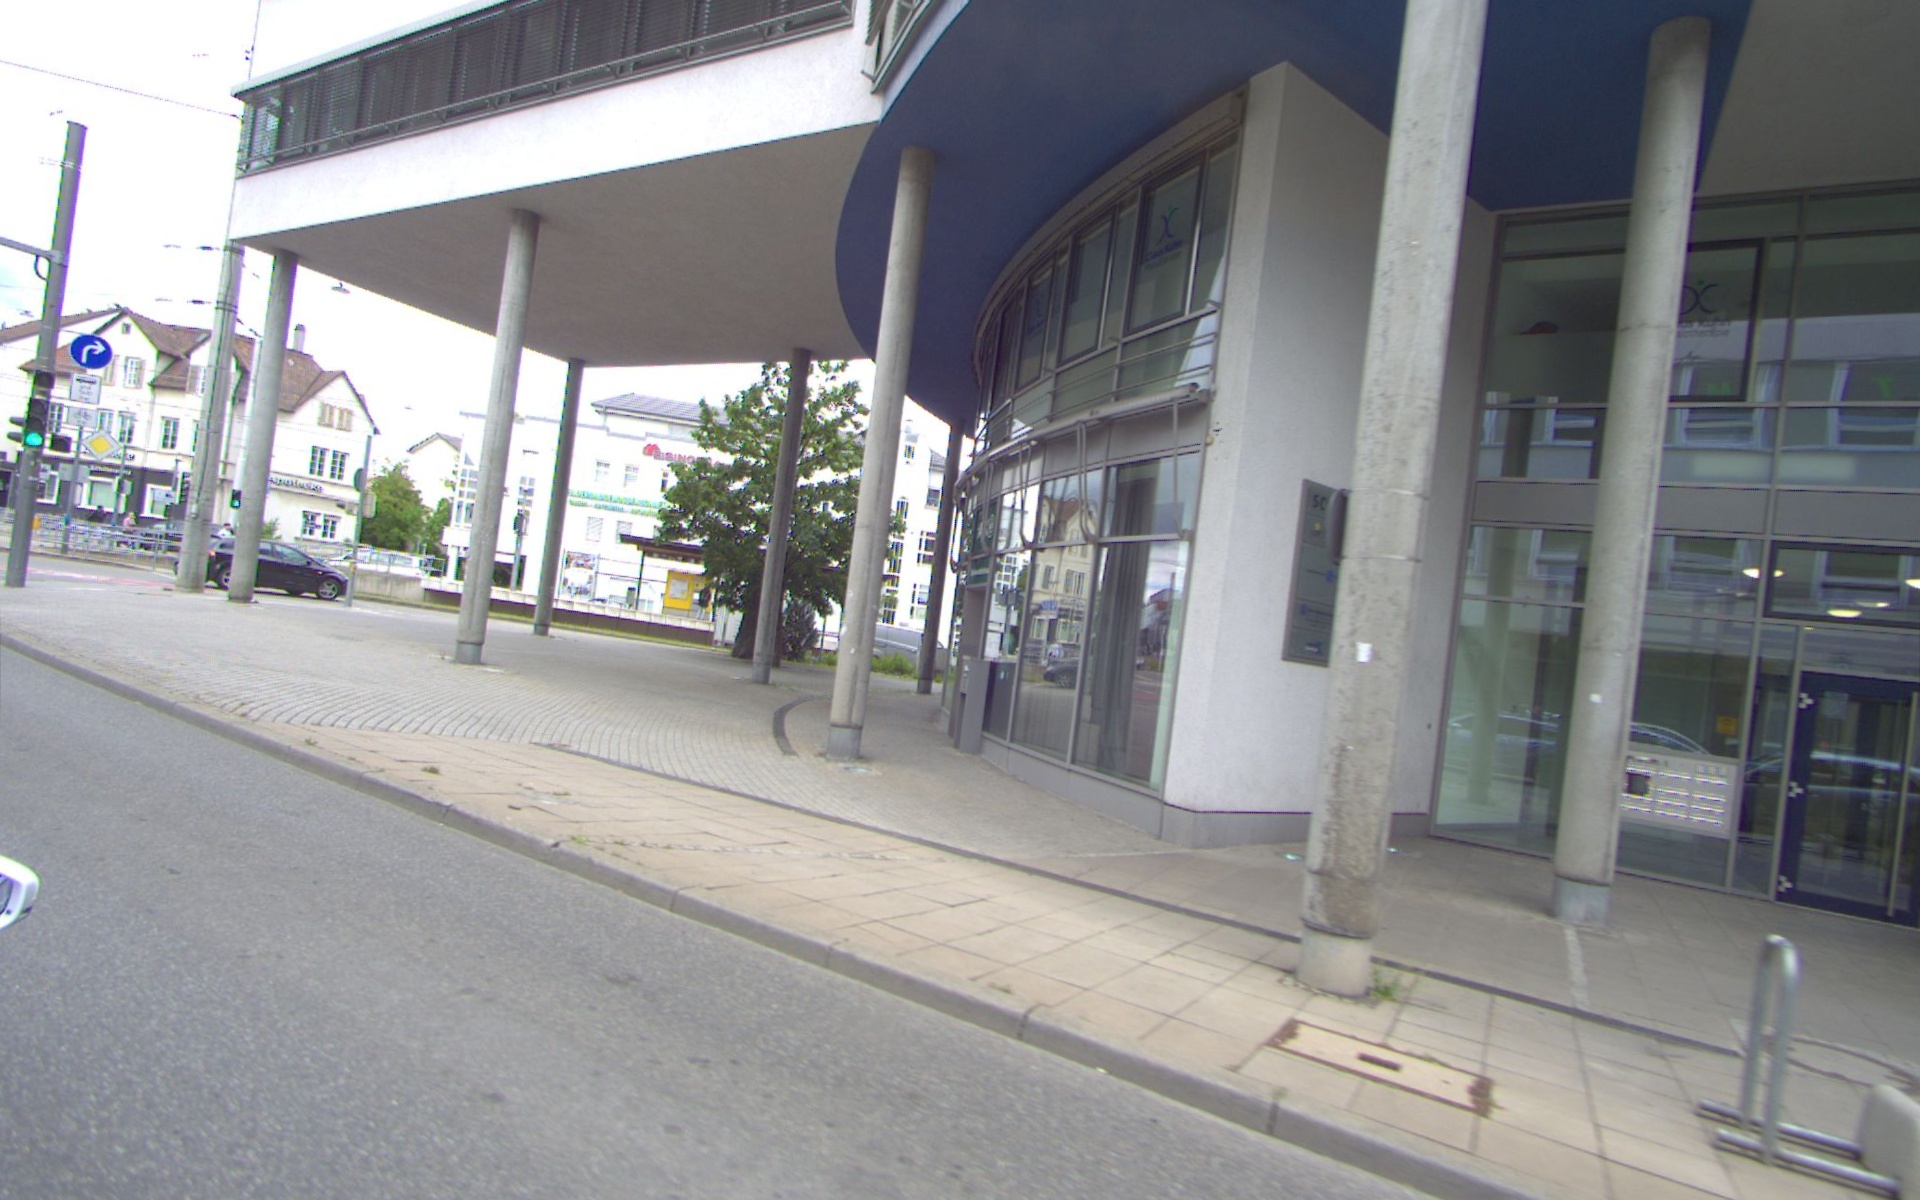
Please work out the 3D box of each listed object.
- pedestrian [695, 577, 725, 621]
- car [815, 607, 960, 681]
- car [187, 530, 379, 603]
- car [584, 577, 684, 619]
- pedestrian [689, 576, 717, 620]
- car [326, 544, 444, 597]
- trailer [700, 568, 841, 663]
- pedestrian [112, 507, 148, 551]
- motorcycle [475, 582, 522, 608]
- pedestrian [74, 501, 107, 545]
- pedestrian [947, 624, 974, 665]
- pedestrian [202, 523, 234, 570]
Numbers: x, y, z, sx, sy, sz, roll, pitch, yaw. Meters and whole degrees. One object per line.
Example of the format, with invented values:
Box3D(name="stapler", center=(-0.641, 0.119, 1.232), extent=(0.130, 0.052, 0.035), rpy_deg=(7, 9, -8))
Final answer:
Box3D(name="pedestrian", center=(-10.818, -0.044, 43.469), extent=(0.778, 1.794, 0.688), rpy_deg=(7, -2, 41))
Box3D(name="car", center=(-2.698, 1.662, 37.626), extent=(4.849, 1.966, 1.874), rpy_deg=(11, -4, -24))
Box3D(name="car", center=(-18.719, -0.884, 28.019), extent=(1.709, 1.427, 3.998), rpy_deg=(7, -1, 26))
Box3D(name="car", center=(-17.502, -0.081, 54.273), extent=(4.703, 1.487, 1.989), rpy_deg=(8, -3, -8))
Box3D(name="pedestrian", center=(-10.784, -0.079, 42.233), extent=(0.779, 1.737, 0.686), rpy_deg=(9, -2, -22))
Box3D(name="car", center=(-29.796, -1.507, 52.265), extent=(4.703, 1.940, 1.989), rpy_deg=(8, -3, -8))
Box3D(name="trailer", center=(-6.733, 0.573, 35.773), extent=(4.272, 2.640, 1.874), rpy_deg=(11, -3, -24))
Box3D(name="pedestrian", center=(-36.129, -3.092, 43.813), extent=(0.638, 1.737, 0.789), rpy_deg=(9, -2, -5))
Box3D(name="motorcycle", center=(-24.269, -0.264, 52.919), extent=(1.947, 1.085, 0.763), rpy_deg=(8, -3, -8))
Box3D(name="pedestrian", center=(-37.482, -3.321, 43.369), extent=(0.637, 1.738, 0.705), rpy_deg=(7, 0, 16))
Box3D(name="pedestrian", center=(0.012, 2.076, 46.888), extent=(0.683, 1.737, 0.783), rpy_deg=(10, -2, -31))
Box3D(name="pedestrian", center=(-29.082, -2.099, 39.442), extent=(0.640, 1.738, 0.702), rpy_deg=(7, 0, -17))
